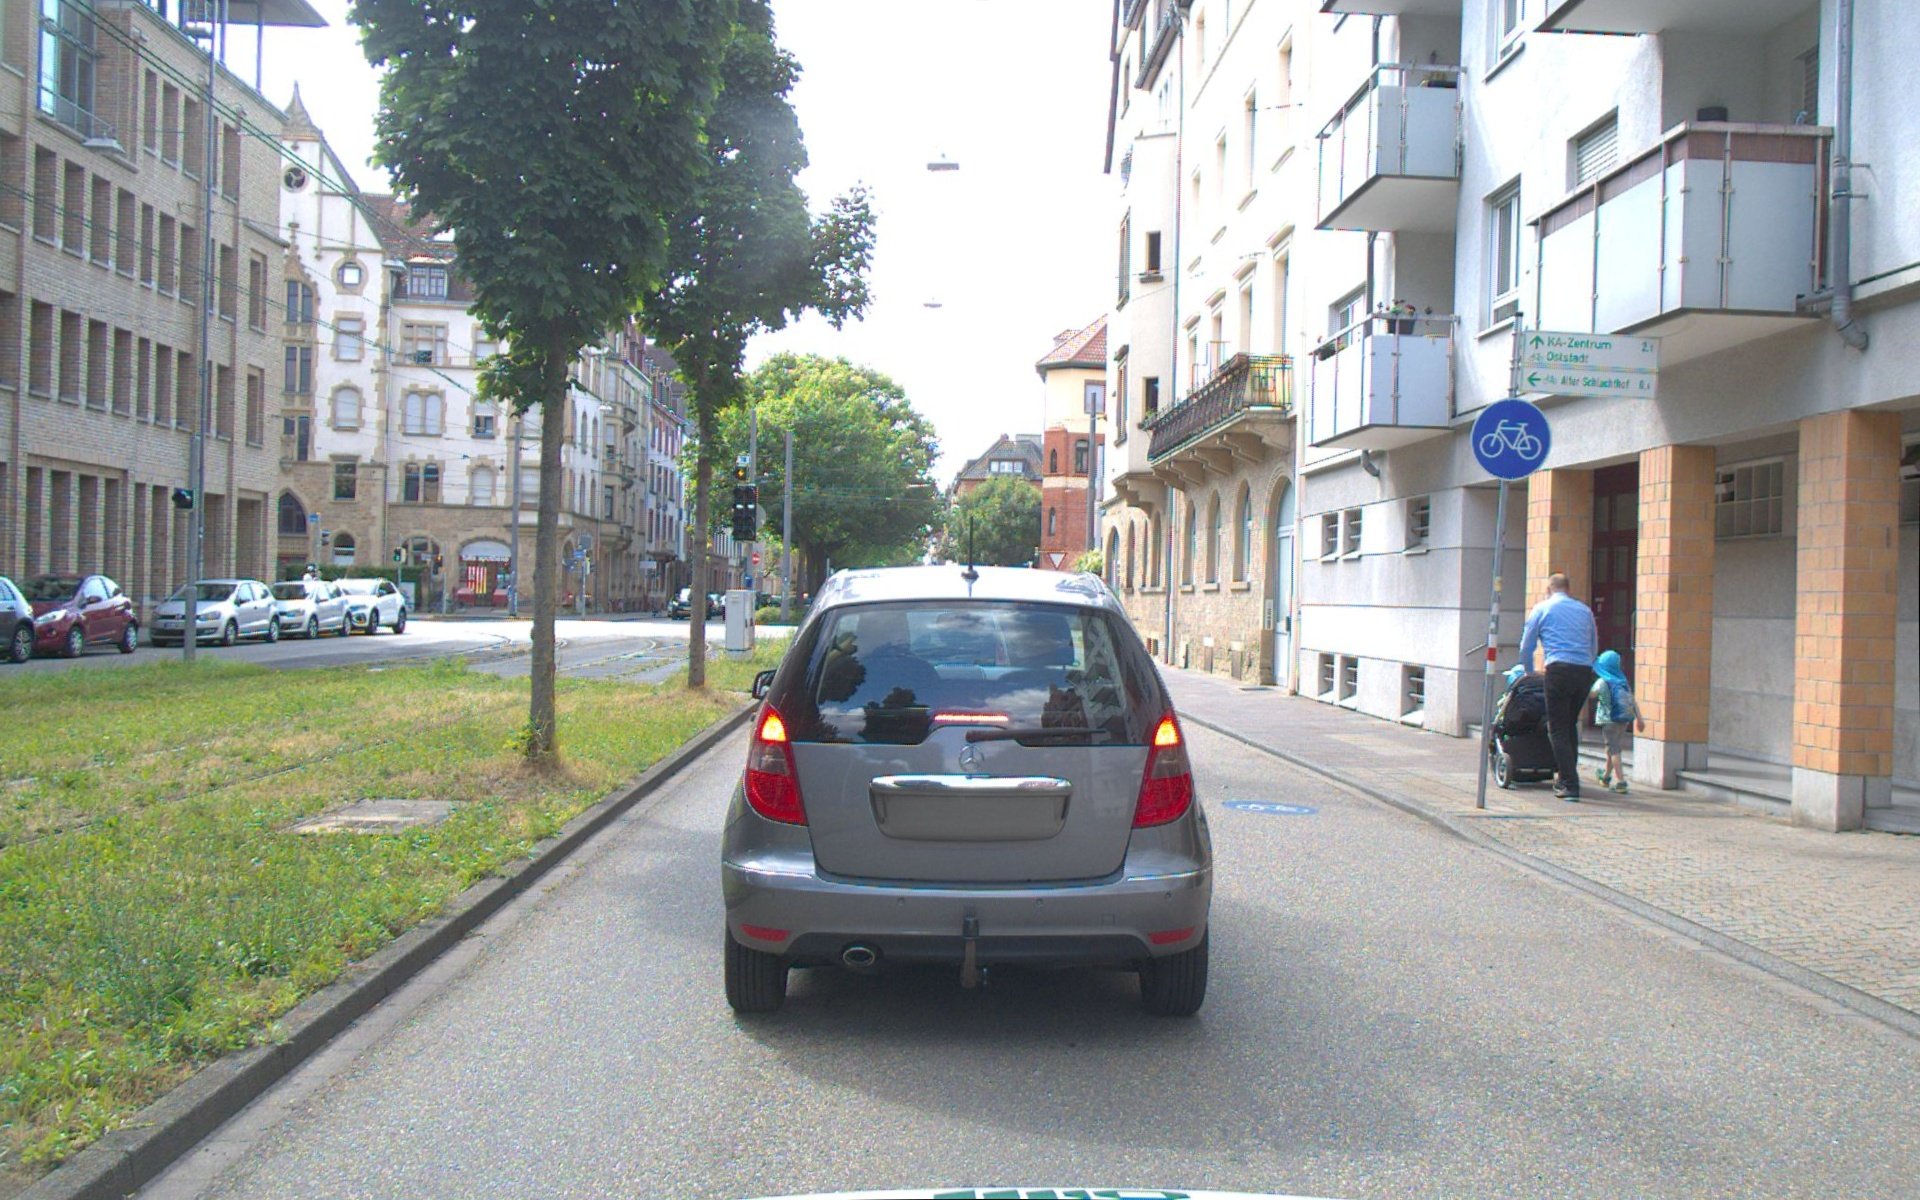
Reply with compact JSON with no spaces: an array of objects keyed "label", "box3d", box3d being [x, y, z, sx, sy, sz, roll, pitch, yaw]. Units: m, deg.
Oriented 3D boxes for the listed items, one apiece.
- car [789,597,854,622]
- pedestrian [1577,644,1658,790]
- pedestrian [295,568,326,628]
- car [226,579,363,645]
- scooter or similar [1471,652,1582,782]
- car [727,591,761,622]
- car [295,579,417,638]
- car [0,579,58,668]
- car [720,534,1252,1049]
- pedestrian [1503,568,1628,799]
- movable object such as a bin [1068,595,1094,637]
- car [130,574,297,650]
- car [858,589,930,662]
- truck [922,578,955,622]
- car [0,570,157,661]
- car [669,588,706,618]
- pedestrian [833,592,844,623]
[{"label":"car","box3d":[-8.270,0.541,98.442,1.957,1.362,3.941,2,0,-41]},{"label":"pedestrian","box3d":[5.441,0.958,13.702,0.447,1.154,0.494,-1,0,-1]},{"label":"pedestrian","box3d":[-20.315,-0.065,51.725,0.751,1.827,0.952,2,0,-27]},{"label":"car","box3d":[-16.914,0.291,42.243,1.893,1.557,4.014,1,0,-1]},{"label":"scooter or similar","box3d":[4.824,0.980,14.129,0.580,1.019,0.905,-3,0,-1]},{"label":"car","box3d":[-12.649,0.355,97.026,1.955,1.758,3.994,1,0,-7]},{"label":"car","box3d":[-16.984,0.227,46.752,1.893,1.561,4.257,1,0,-1]},{"label":"car","box3d":[-16.181,0.355,25.802,1.893,1.420,4.238,1,0,-1]},{"label":"car","box3d":[0.062,0.619,7.146,1.687,1.633,3.676,1,0,-1]},{"label":"pedestrian","box3d":[4.857,0.648,13.306,0.608,1.769,0.877,-2,0,-1]},{"label":"movable object such as a bin","box3d":[4.351,0.573,59.548,0.701,1.497,0.980,1,0,-10]},{"label":"car","box3d":[-16.576,0.258,36.947,1.813,1.557,4.209,1,0,-1]},{"label":"car","box3d":[-1.621,0.611,41.429,1.687,1.736,3.676,1,0,-1]},{"label":"truck","box3d":[-1.482,0.010,116.881,2.079,3.022,4.001,1,0,2]},{"label":"car","box3d":[-16.387,0.259,30.348,1.550,1.557,3.549,1,0,-1]},{"label":"car","box3d":[-15.701,0.177,95.442,1.955,1.646,3.994,1,0,-7]},{"label":"pedestrian","box3d":[-6.869,0.417,93.639,0.484,1.755,0.652,2,0,-10]}]
